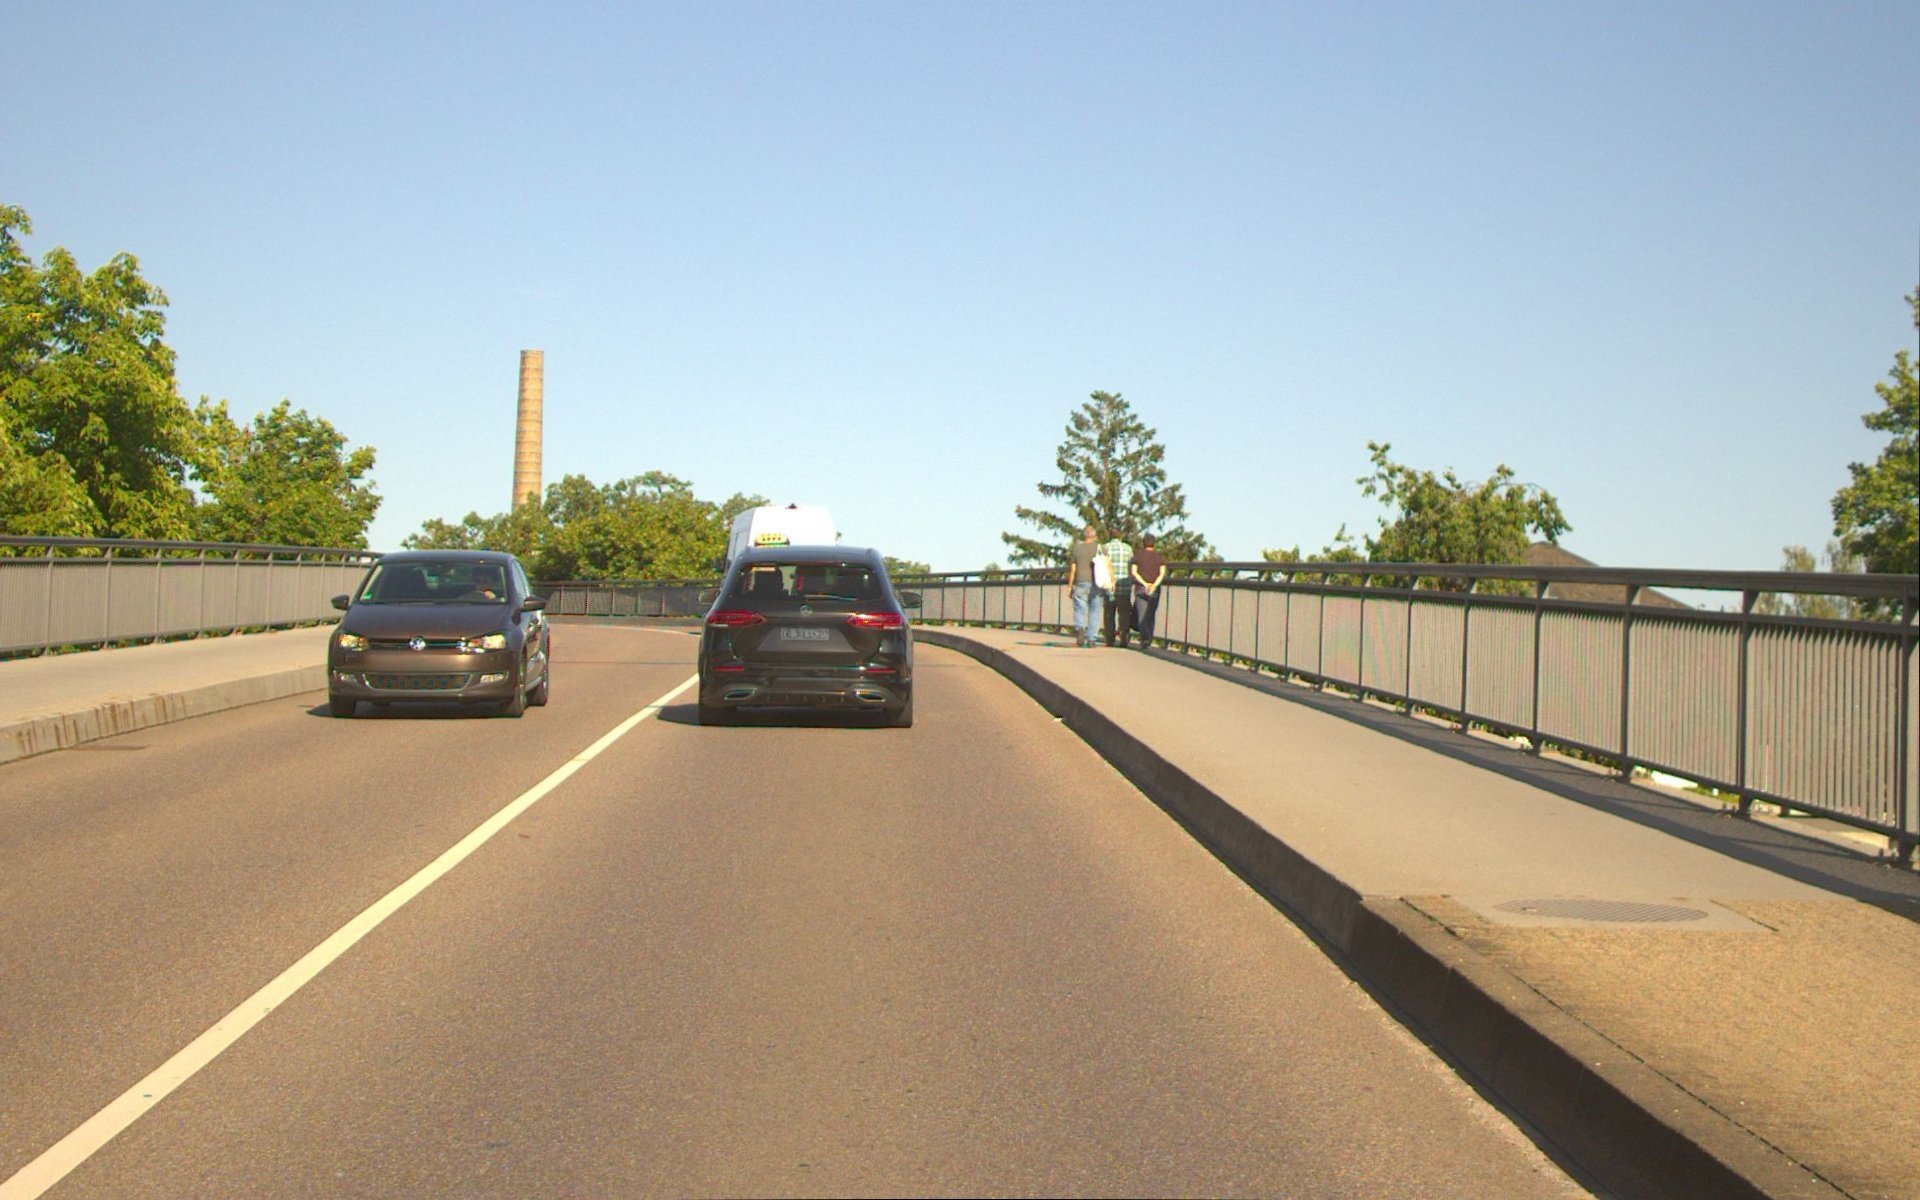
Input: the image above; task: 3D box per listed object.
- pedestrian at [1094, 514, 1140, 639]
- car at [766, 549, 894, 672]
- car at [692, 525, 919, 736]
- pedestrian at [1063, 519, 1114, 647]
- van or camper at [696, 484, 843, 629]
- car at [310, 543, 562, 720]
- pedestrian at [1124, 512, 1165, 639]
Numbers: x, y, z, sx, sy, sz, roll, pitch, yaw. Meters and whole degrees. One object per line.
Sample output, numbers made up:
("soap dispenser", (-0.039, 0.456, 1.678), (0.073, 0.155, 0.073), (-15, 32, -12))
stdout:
("pedestrian", (2.233, -0.329, 49.067), (0.549, 1.744, 0.738), (2, -2, -1))
("car", (-1.949, 0.196, 52.658), (1.804, 1.634, 3.999), (2, -3, -1))
("car", (-1.402, 0.205, 29.728), (1.769, 1.587, 3.990), (2, 2, -4))
("pedestrian", (1.798, -0.235, 48.132), (0.602, 1.744, 0.717), (2, -2, -1))
("van or camper", (-4.092, -0.839, 72.552), (2.225, 2.730, 7.081), (2, -2, -9))
("car", (-4.588, 0.246, 30.595), (1.769, 1.469, 3.989), (0, 0, -2))
("pedestrian", (2.587, -0.340, 48.258), (0.471, 1.744, 0.654), (2, -2, -1))
